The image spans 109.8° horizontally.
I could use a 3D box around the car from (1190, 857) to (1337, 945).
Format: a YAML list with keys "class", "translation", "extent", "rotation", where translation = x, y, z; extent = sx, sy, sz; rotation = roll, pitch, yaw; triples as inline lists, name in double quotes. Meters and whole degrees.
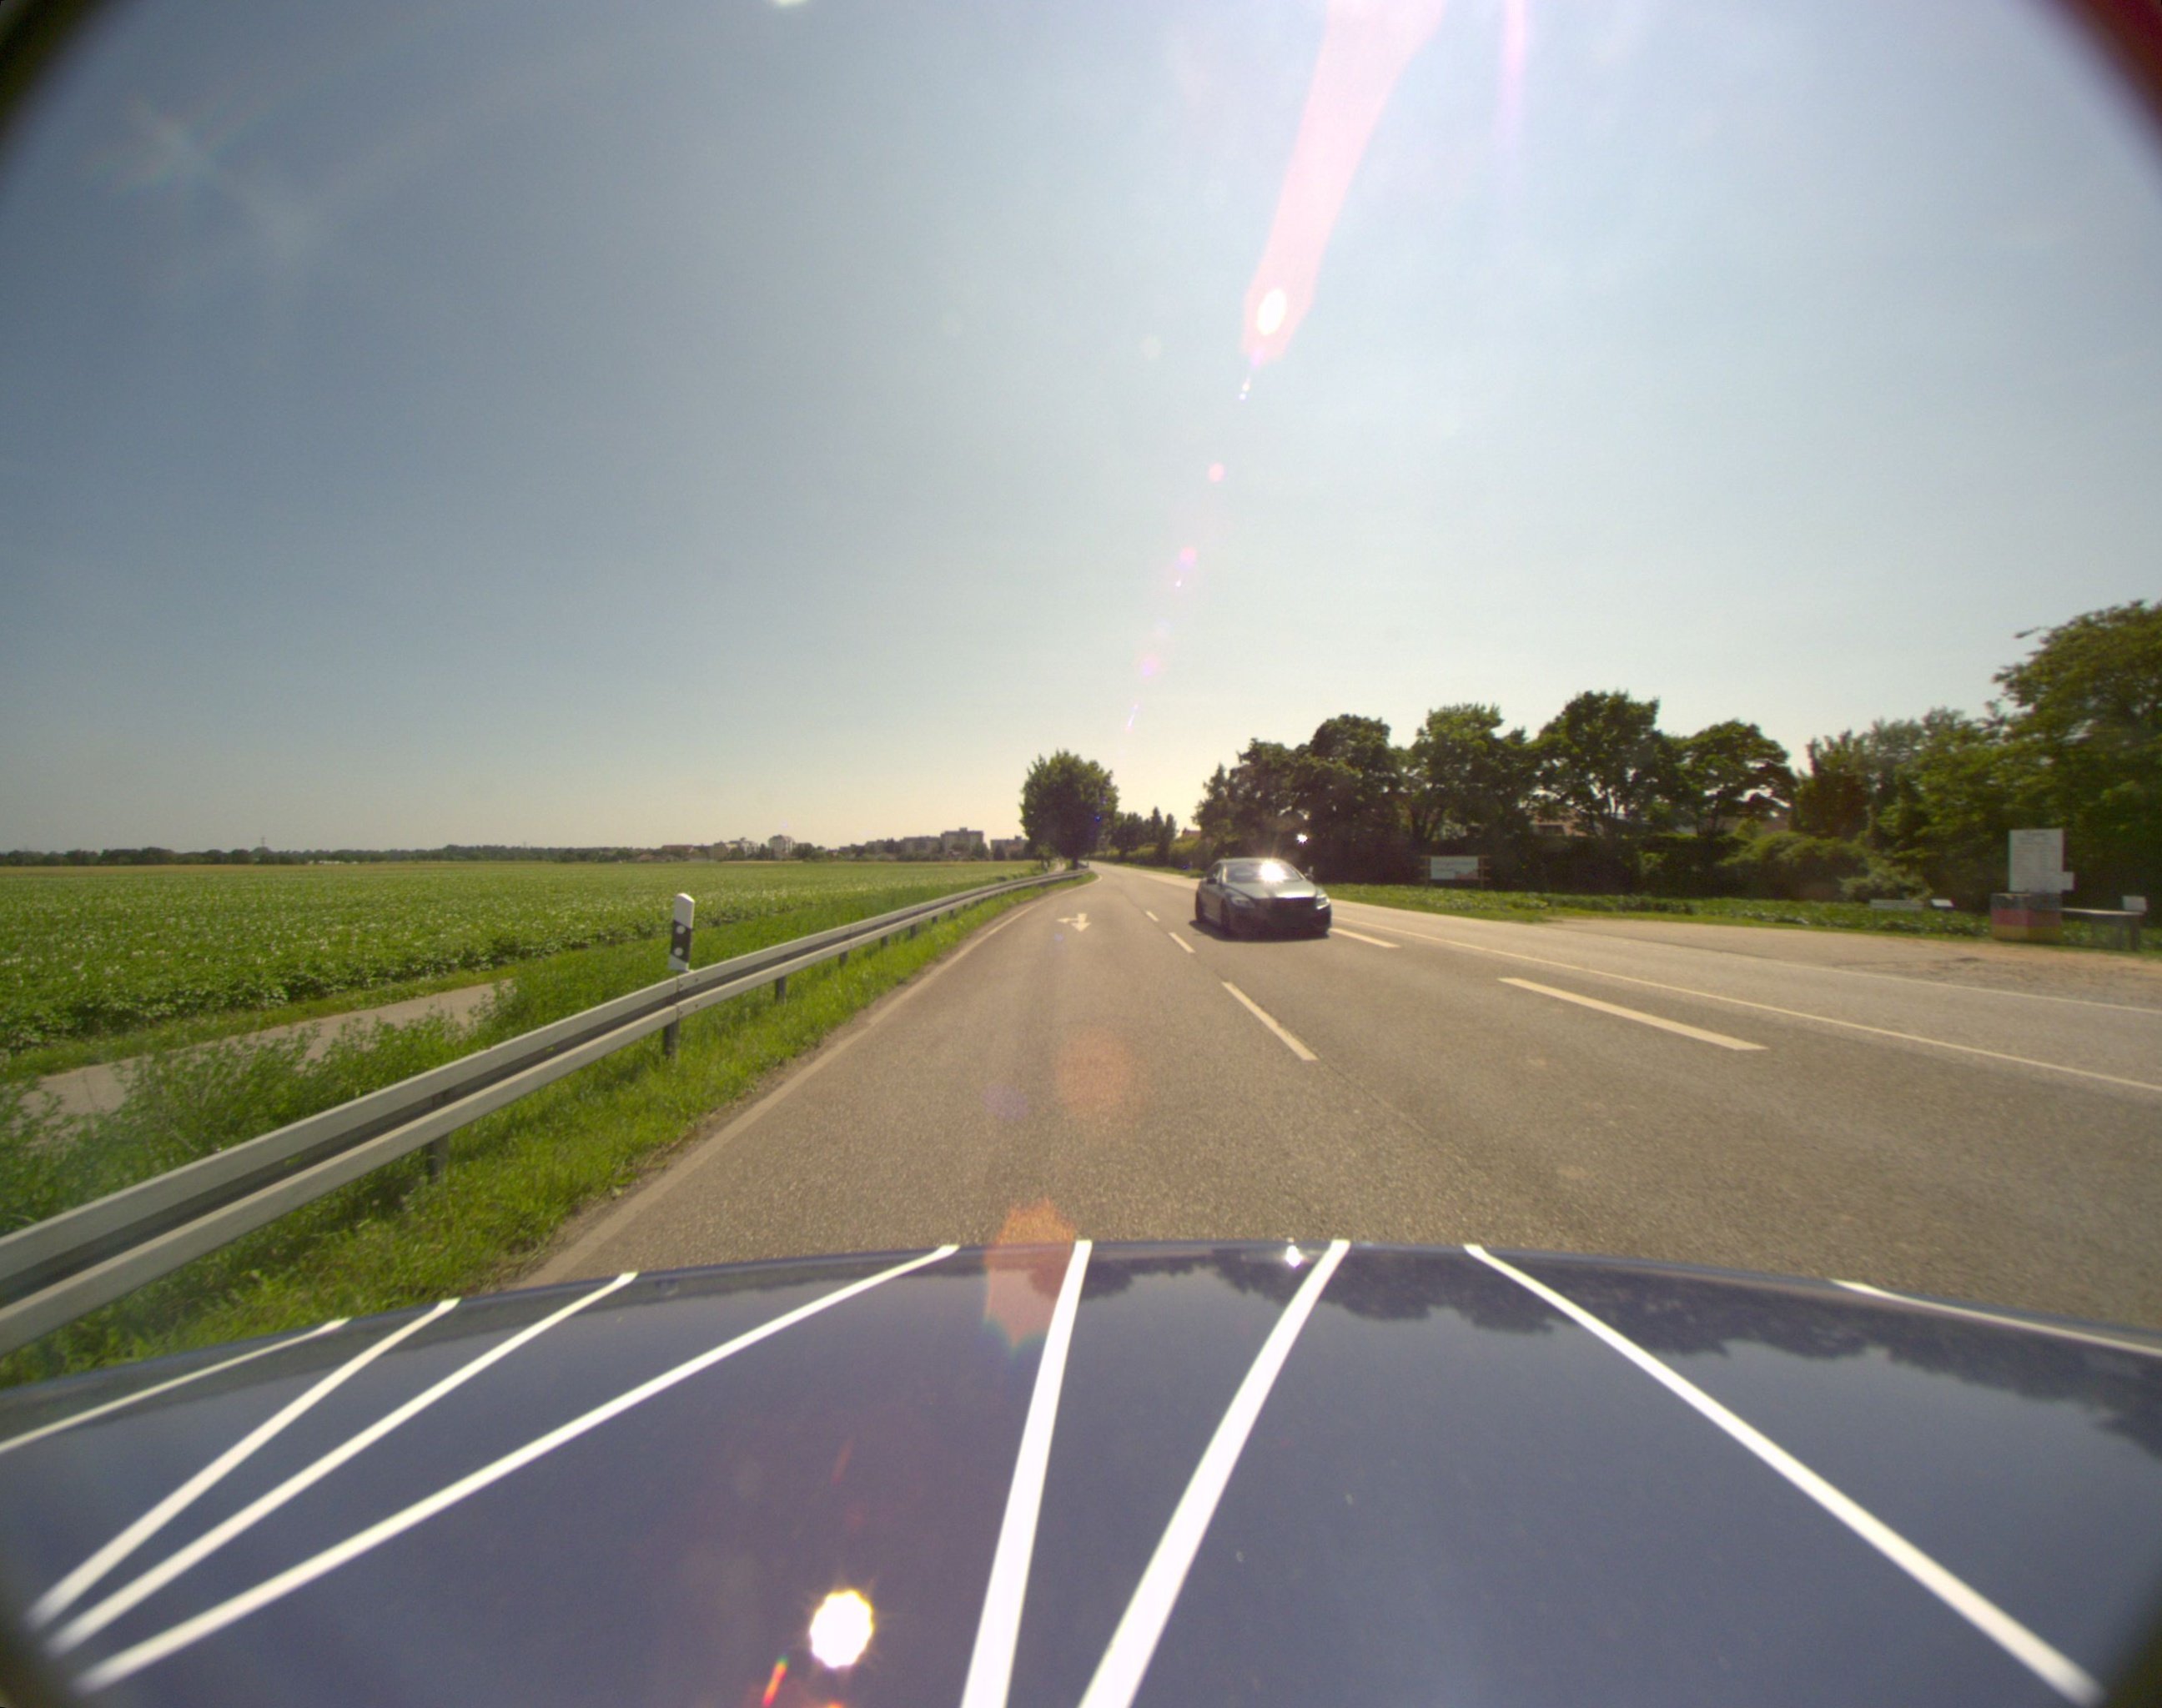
- class: "car"
  translation: [3.488, 0.823, 15.520]
  extent: [1.815, 1.441, 4.877]
  rotation: [-2, 0, 0]
